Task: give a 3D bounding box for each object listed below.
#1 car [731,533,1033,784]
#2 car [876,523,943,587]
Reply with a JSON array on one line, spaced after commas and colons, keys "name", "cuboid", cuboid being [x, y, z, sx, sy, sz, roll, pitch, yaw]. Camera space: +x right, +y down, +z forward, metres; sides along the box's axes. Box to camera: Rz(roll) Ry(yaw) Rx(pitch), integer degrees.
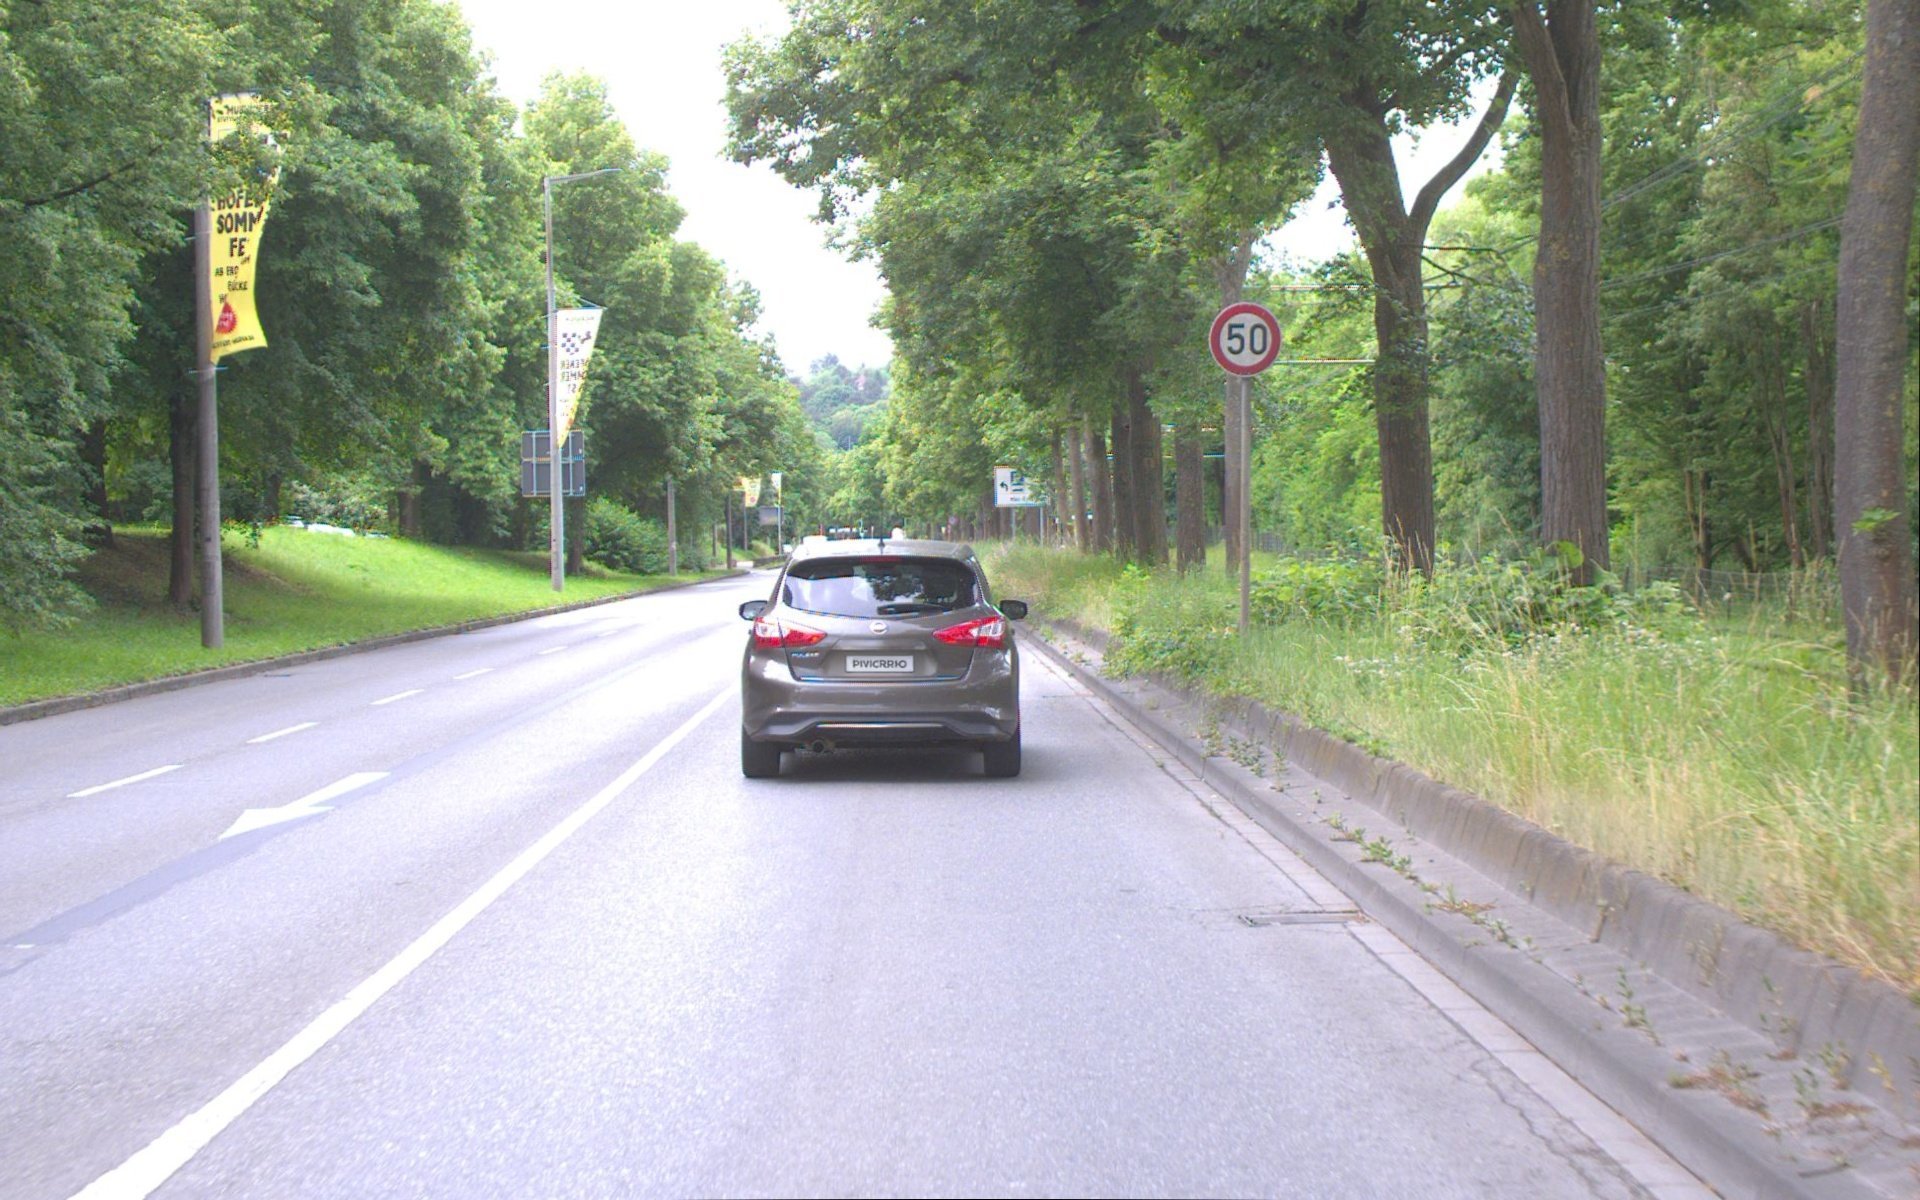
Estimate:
[{"name": "car", "cuboid": [-0.448, 0.331, 23.013, 1.837, 1.523, 3.929, 1, 1, 1]}, {"name": "car", "cuboid": [-1.225, -1.106, 84.627, 1.503, 1.523, 3.671, 1, 1, 1]}]
